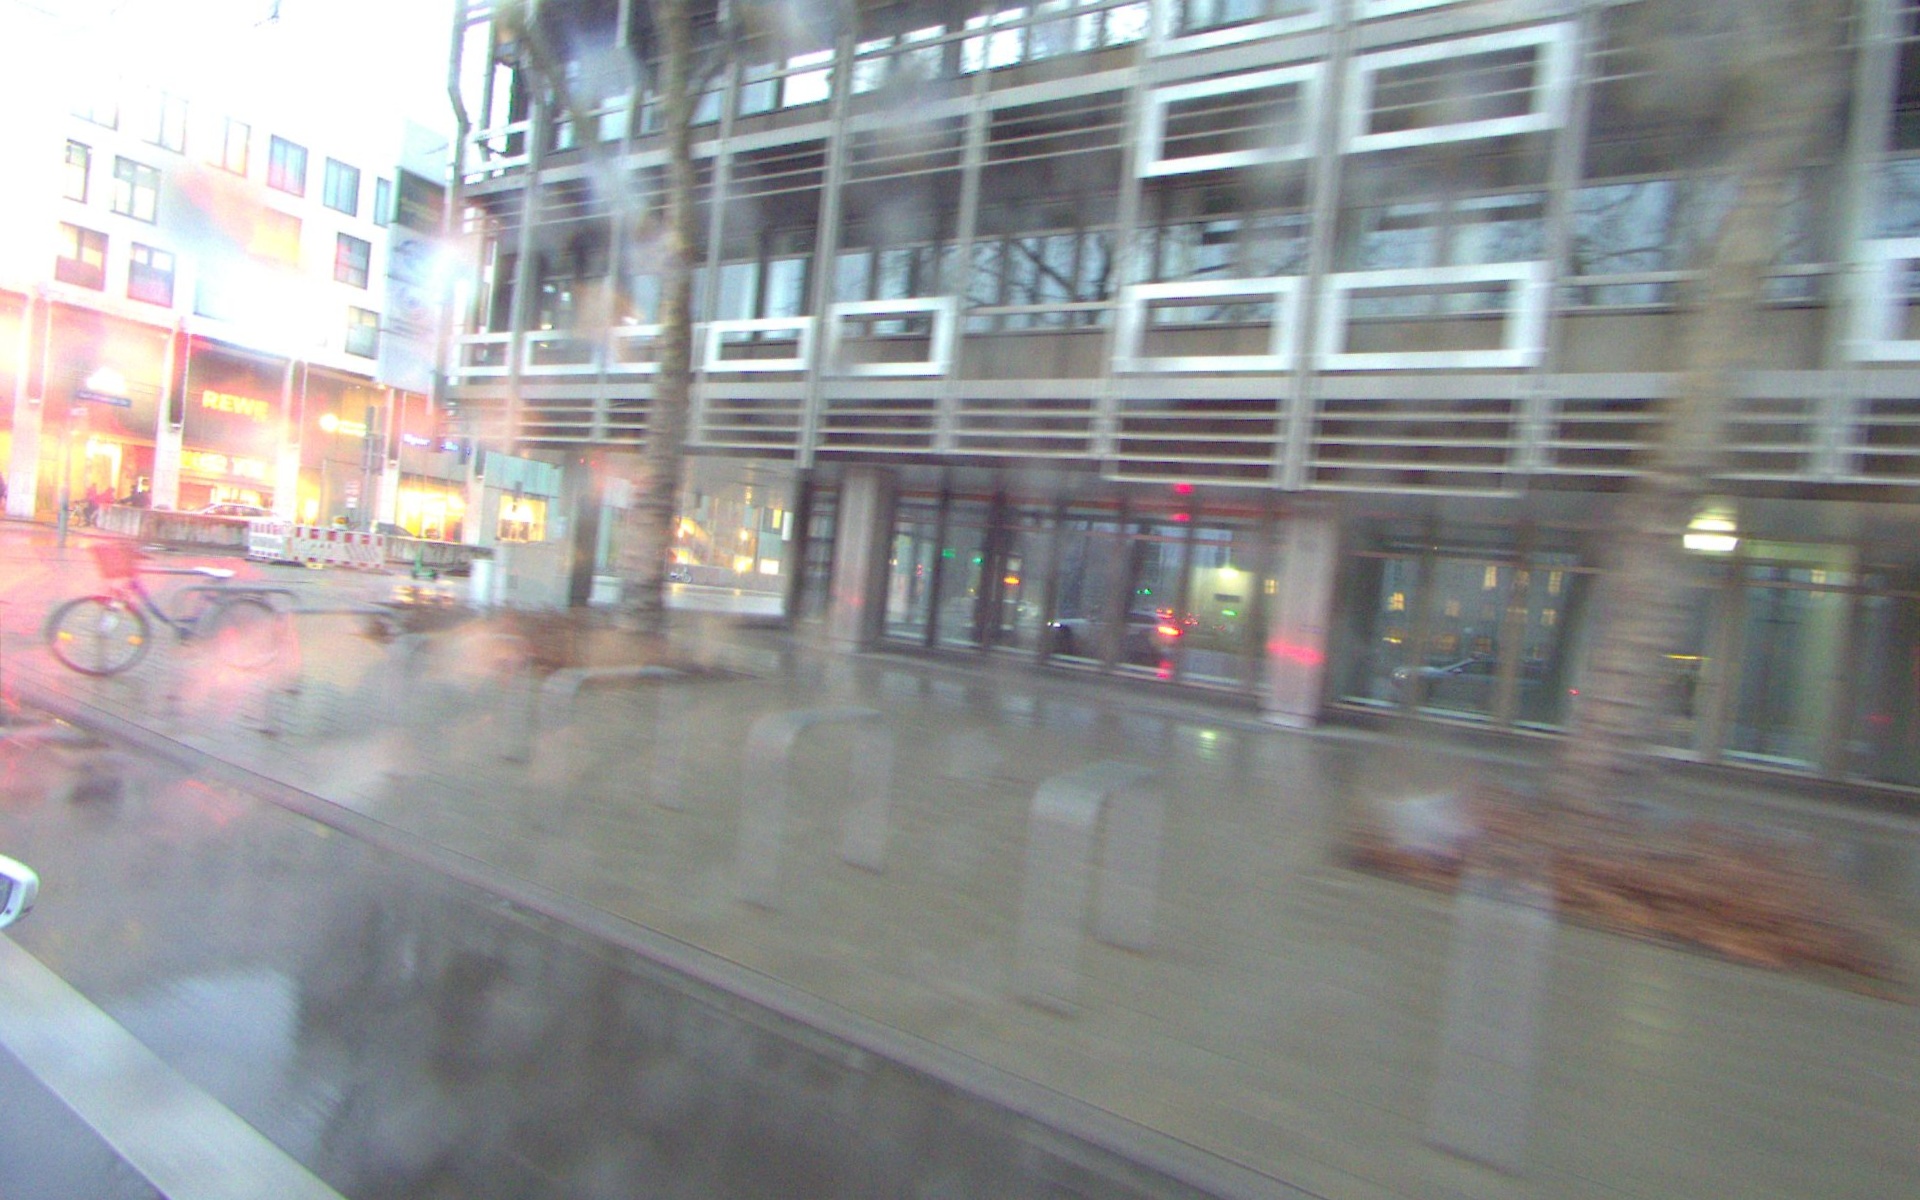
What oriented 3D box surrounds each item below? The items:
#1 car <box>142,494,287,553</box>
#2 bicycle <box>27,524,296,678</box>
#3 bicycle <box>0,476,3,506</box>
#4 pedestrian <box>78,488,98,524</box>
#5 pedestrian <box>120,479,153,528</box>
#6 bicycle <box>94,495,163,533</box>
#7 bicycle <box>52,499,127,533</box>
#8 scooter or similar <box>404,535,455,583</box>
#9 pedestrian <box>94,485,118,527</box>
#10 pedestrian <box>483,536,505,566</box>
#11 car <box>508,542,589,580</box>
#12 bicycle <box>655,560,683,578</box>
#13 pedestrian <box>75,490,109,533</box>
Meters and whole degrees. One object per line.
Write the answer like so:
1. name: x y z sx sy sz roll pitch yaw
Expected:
1. car: -29.910 -3.042 40.493 1.680 1.784 4.302 7 1 36
2. bicycle: -6.783 0.020 8.654 0.428 1.164 1.752 7 2 28
3. bicycle: -44.958 -5.105 45.412 0.623 1.346 2.429 7 1 28
4. pedestrian: -44.606 -4.798 51.450 0.529 1.740 0.500 6 2 -19
5. pedestrian: -29.567 -3.461 36.114 0.777 1.616 0.606 5 2 -42
6. bicycle: -29.745 -3.070 36.003 1.838 1.107 0.610 6 1 -42
7. bicycle: -34.717 -3.325 40.141 0.532 1.003 2.132 6 -1 31
8. scooter or similar: -14.171 -1.087 26.863 1.215 1.145 0.605 7 1 33
9. pedestrian: -36.900 -4.047 43.458 0.529 1.707 0.546 6 2 -19
10. pedestrian: -27.298 -2.882 58.963 0.698 1.651 0.795 6 0 33
11. car: -21.710 -2.055 53.171 1.649 1.602 3.571 6 0 32
12. bicycle: -19.899 -2.134 68.785 2.102 1.046 0.615 7 1 35
13. pedestrian: -34.691 -3.517 40.191 0.527 1.590 0.815 7 2 32
